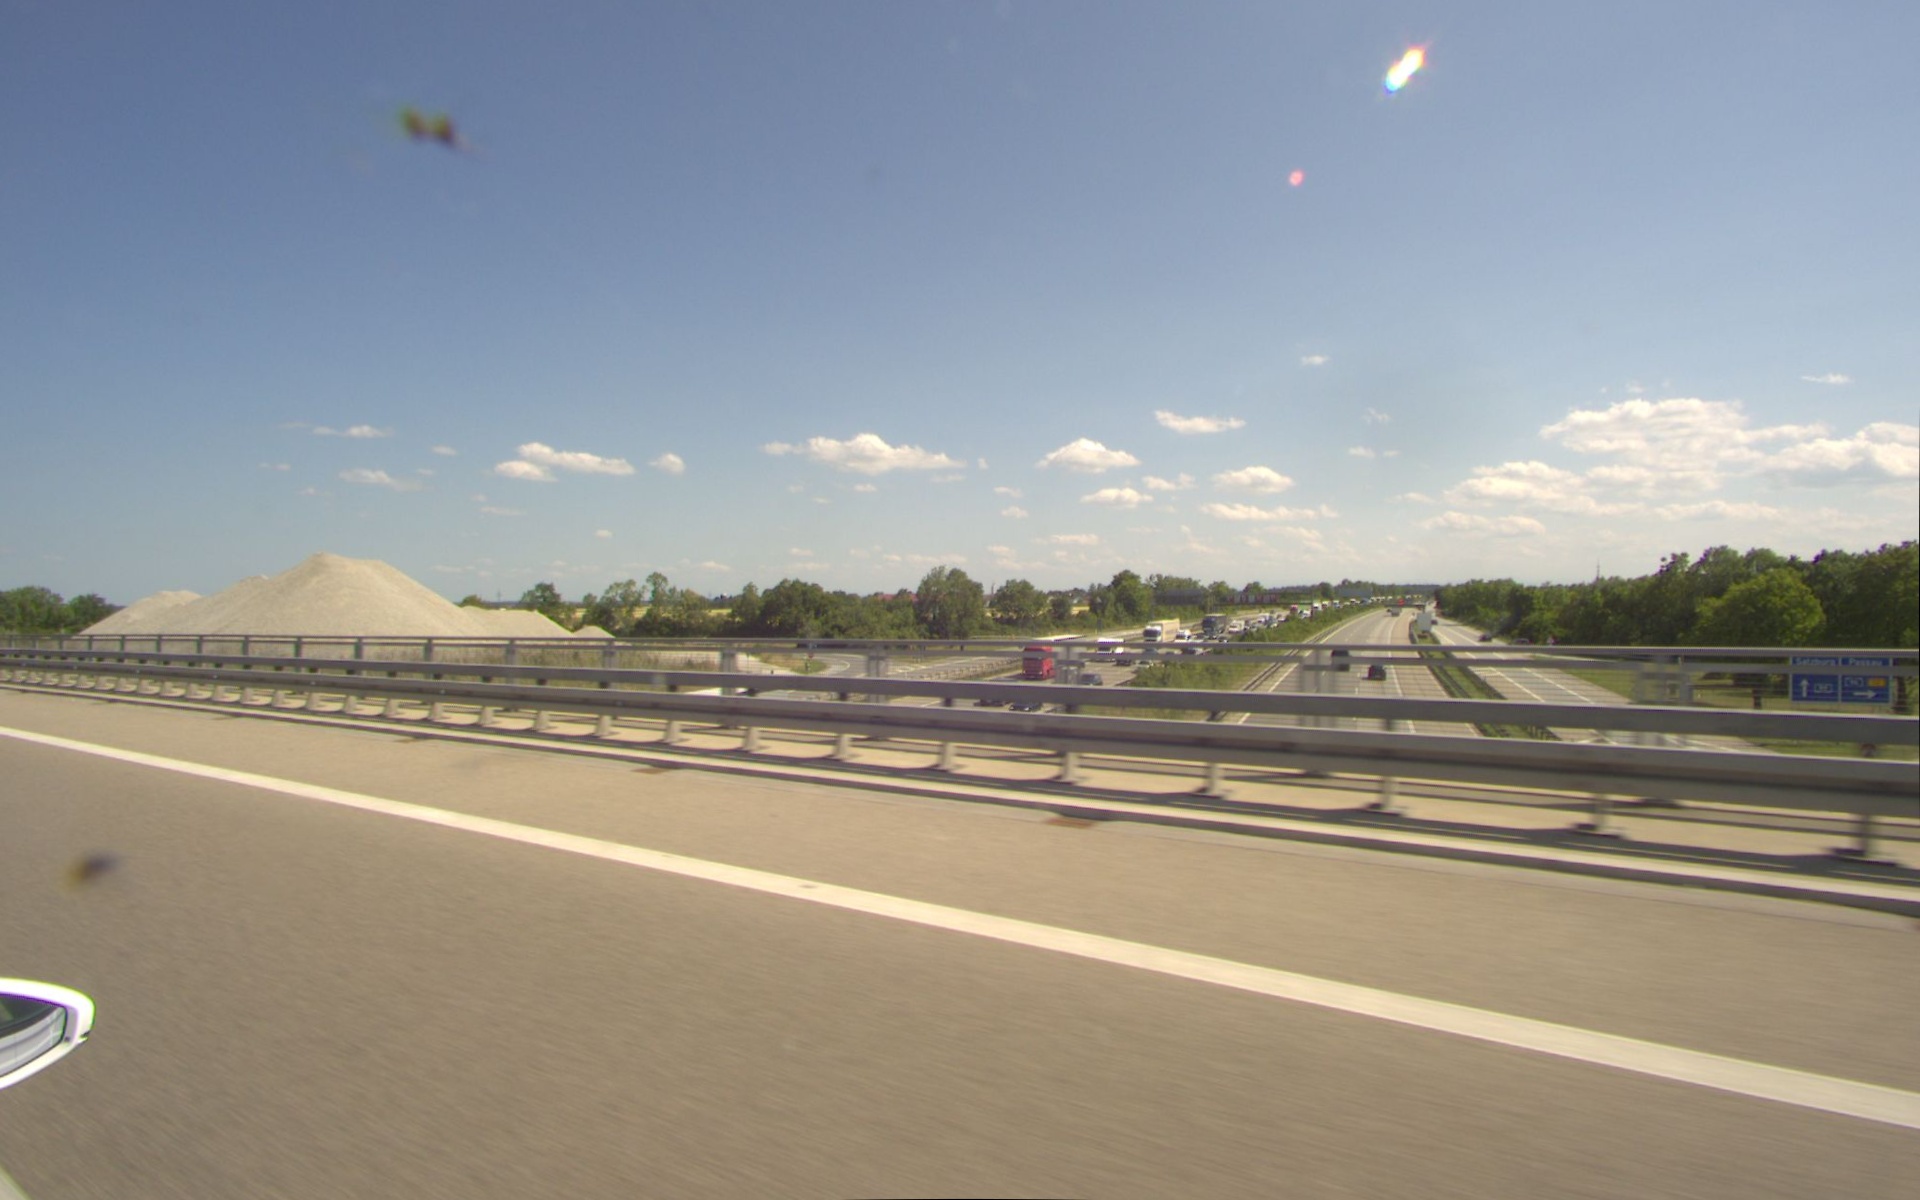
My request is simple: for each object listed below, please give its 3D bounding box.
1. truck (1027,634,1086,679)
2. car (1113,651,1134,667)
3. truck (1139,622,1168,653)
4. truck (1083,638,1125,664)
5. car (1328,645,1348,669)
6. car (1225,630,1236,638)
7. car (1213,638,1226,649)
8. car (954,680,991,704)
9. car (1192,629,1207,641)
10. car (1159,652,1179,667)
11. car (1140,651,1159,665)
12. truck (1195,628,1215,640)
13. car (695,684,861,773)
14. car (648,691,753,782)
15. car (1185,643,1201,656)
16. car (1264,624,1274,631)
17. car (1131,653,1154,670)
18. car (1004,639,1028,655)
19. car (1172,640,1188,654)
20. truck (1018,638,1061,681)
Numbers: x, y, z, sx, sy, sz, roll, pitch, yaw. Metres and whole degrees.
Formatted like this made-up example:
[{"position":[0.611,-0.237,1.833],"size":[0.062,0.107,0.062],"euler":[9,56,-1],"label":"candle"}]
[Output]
[{"position":[10.946,6.173,111.901],"size":[2.822,4.119,12.538],"euler":[0,1,23],"label":"truck"},{"position":[20.526,7.407,125.642],"size":[1.829,1.757,4.336],"euler":[0,-1,21],"label":"car"},{"position":[31.271,6.014,161.735],"size":[3.097,4.837,8.225],"euler":[0,-1,21],"label":"truck"},{"position":[19.336,6.710,133.896],"size":[3.099,3.099,10.022],"euler":[0,-1,23],"label":"truck"},{"position":[42.753,6.470,113.290],"size":[2.102,2.479,5.039],"euler":[0,-1,20],"label":"car"},{"position":[58.178,7.317,215.234],"size":[1.966,1.631,4.686],"euler":[0,-1,21],"label":"car"},{"position":[45.102,7.512,174.077],"size":[1.829,1.757,4.336],"euler":[0,-1,21],"label":"car"},{"position":[1.117,8.061,87.813],"size":[1.829,1.757,4.336],"euler":[0,-1,21],"label":"car"},{"position":[42.209,6.194,176.328],"size":[1.966,2.040,4.686],"euler":[0,-1,21],"label":"car"},{"position":[27.271,7.712,130.675],"size":[1.829,1.757,4.336],"euler":[0,-1,21],"label":"car"},{"position":[26.044,7.960,137.858],"size":[1.829,1.757,4.336],"euler":[0,-1,21],"label":"car"},{"position":[51.142,7.059,208.809],"size":[3.097,2.564,6.647],"euler":[0,-1,21],"label":"truck"},{"position":[-9.994,7.092,57.536],"size":[2.442,4.014,12.979],"euler":[0,-2,24],"label":"car"},{"position":[-13.033,6.779,50.729],"size":[2.442,4.014,5.146],"euler":[0,-2,24],"label":"car"},{"position":[34.919,7.399,149.966],"size":[1.829,1.757,4.336],"euler":[0,-1,21],"label":"car"},{"position":[74.019,6.523,240.181],"size":[1.966,1.631,4.686],"euler":[0,-1,21],"label":"car"},{"position":[21.411,7.160,117.314],"size":[1.829,1.757,4.336],"euler":[0,-1,21],"label":"car"},{"position":[6.933,5.764,123.551],"size":[1.829,1.757,4.336],"euler":[0,-1,21],"label":"car"},{"position":[35.605,7.568,161.919],"size":[1.966,2.040,4.686],"euler":[0,-1,21],"label":"car"},{"position":[8.482,6.195,106.151],"size":[2.822,4.119,5.939],"euler":[0,1,23],"label":"truck"}]
